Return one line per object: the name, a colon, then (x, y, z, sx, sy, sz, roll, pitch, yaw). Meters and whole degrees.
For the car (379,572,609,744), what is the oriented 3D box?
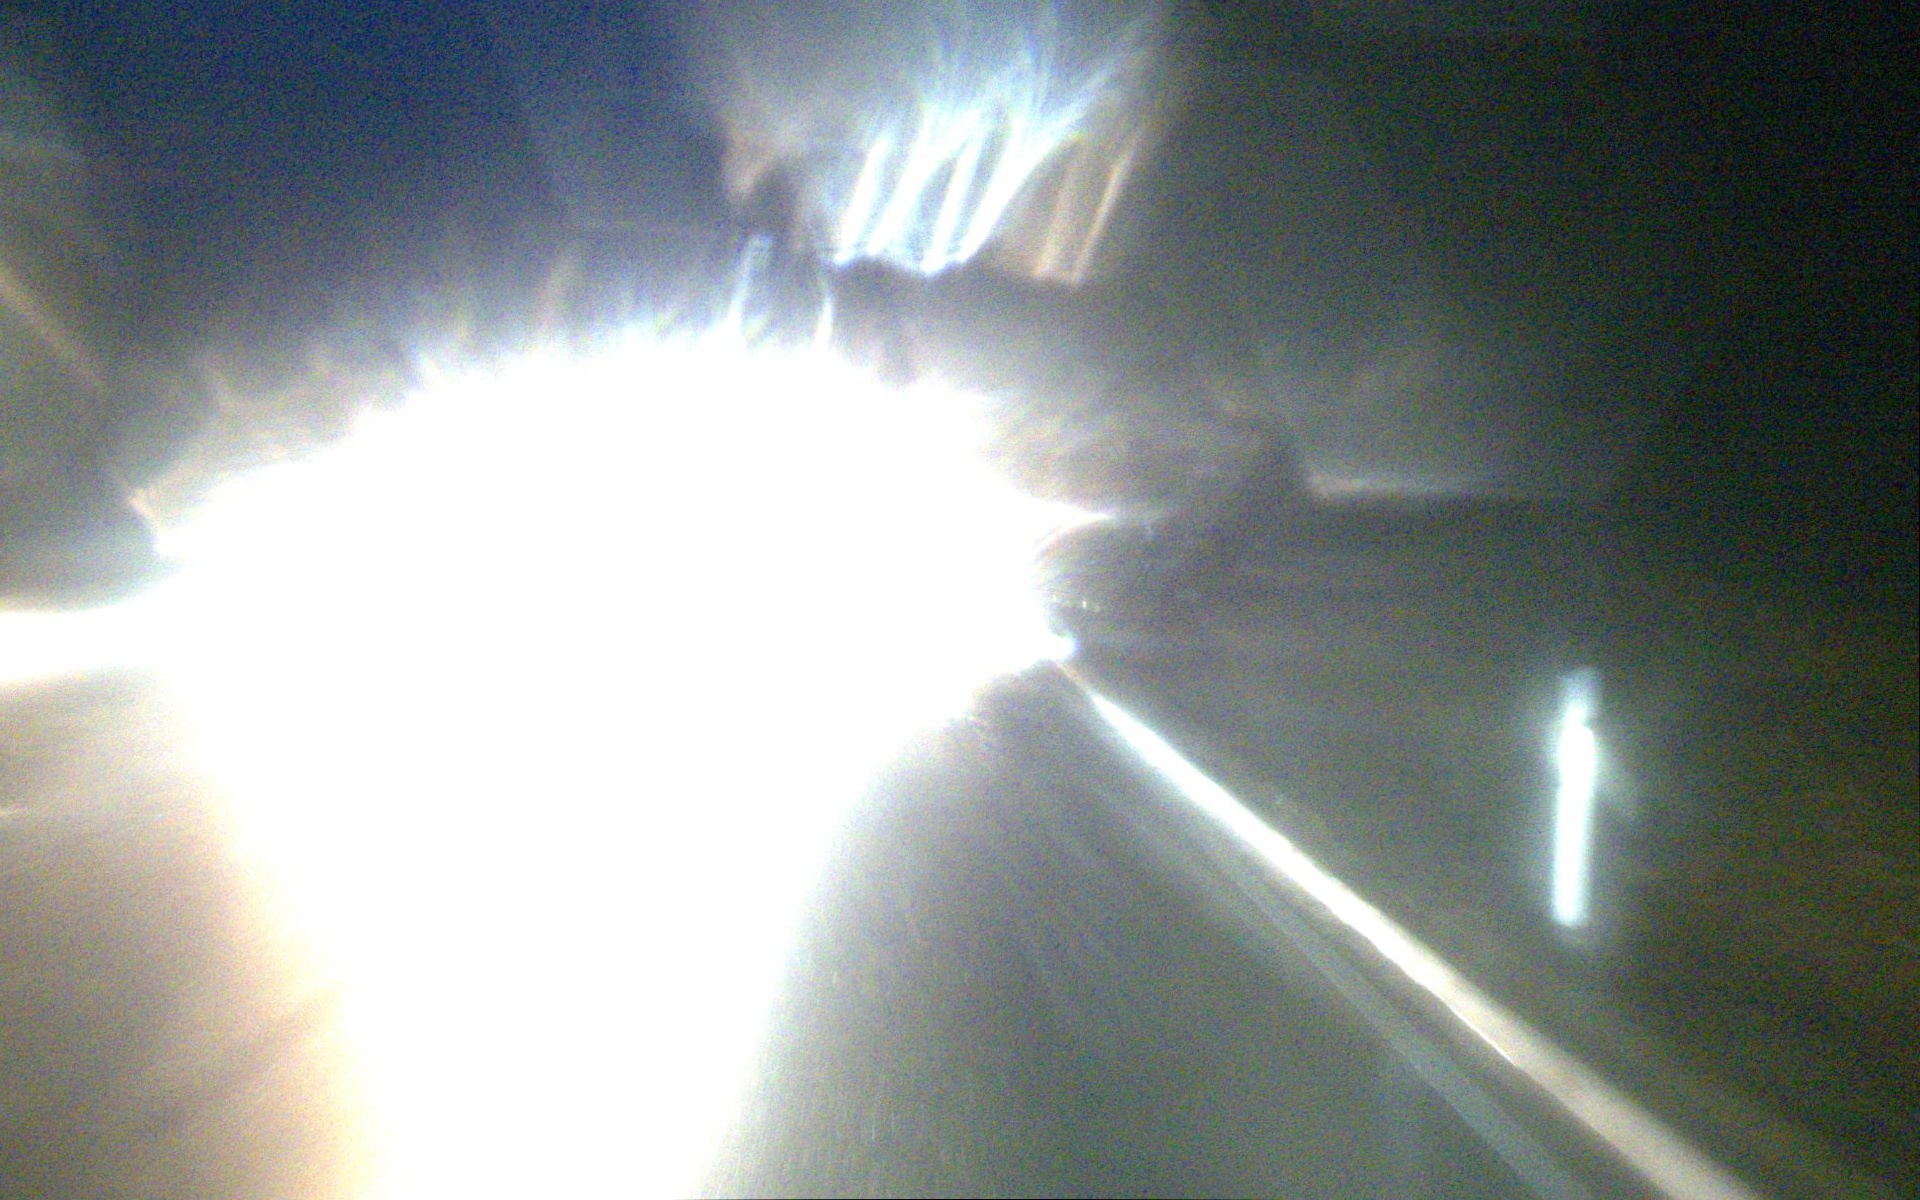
car: (-4.097, 0.469, 30.667, 1.644, 1.420, 3.659, 0, 1, -1)

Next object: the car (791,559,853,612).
car: (-4.044, -0.450, 101.380, 1.716, 1.512, 3.878, 0, 1, -1)

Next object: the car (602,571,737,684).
car: (-4.038, 0.347, 48.295, 1.644, 1.420, 4.124, 3, 1, -2)
